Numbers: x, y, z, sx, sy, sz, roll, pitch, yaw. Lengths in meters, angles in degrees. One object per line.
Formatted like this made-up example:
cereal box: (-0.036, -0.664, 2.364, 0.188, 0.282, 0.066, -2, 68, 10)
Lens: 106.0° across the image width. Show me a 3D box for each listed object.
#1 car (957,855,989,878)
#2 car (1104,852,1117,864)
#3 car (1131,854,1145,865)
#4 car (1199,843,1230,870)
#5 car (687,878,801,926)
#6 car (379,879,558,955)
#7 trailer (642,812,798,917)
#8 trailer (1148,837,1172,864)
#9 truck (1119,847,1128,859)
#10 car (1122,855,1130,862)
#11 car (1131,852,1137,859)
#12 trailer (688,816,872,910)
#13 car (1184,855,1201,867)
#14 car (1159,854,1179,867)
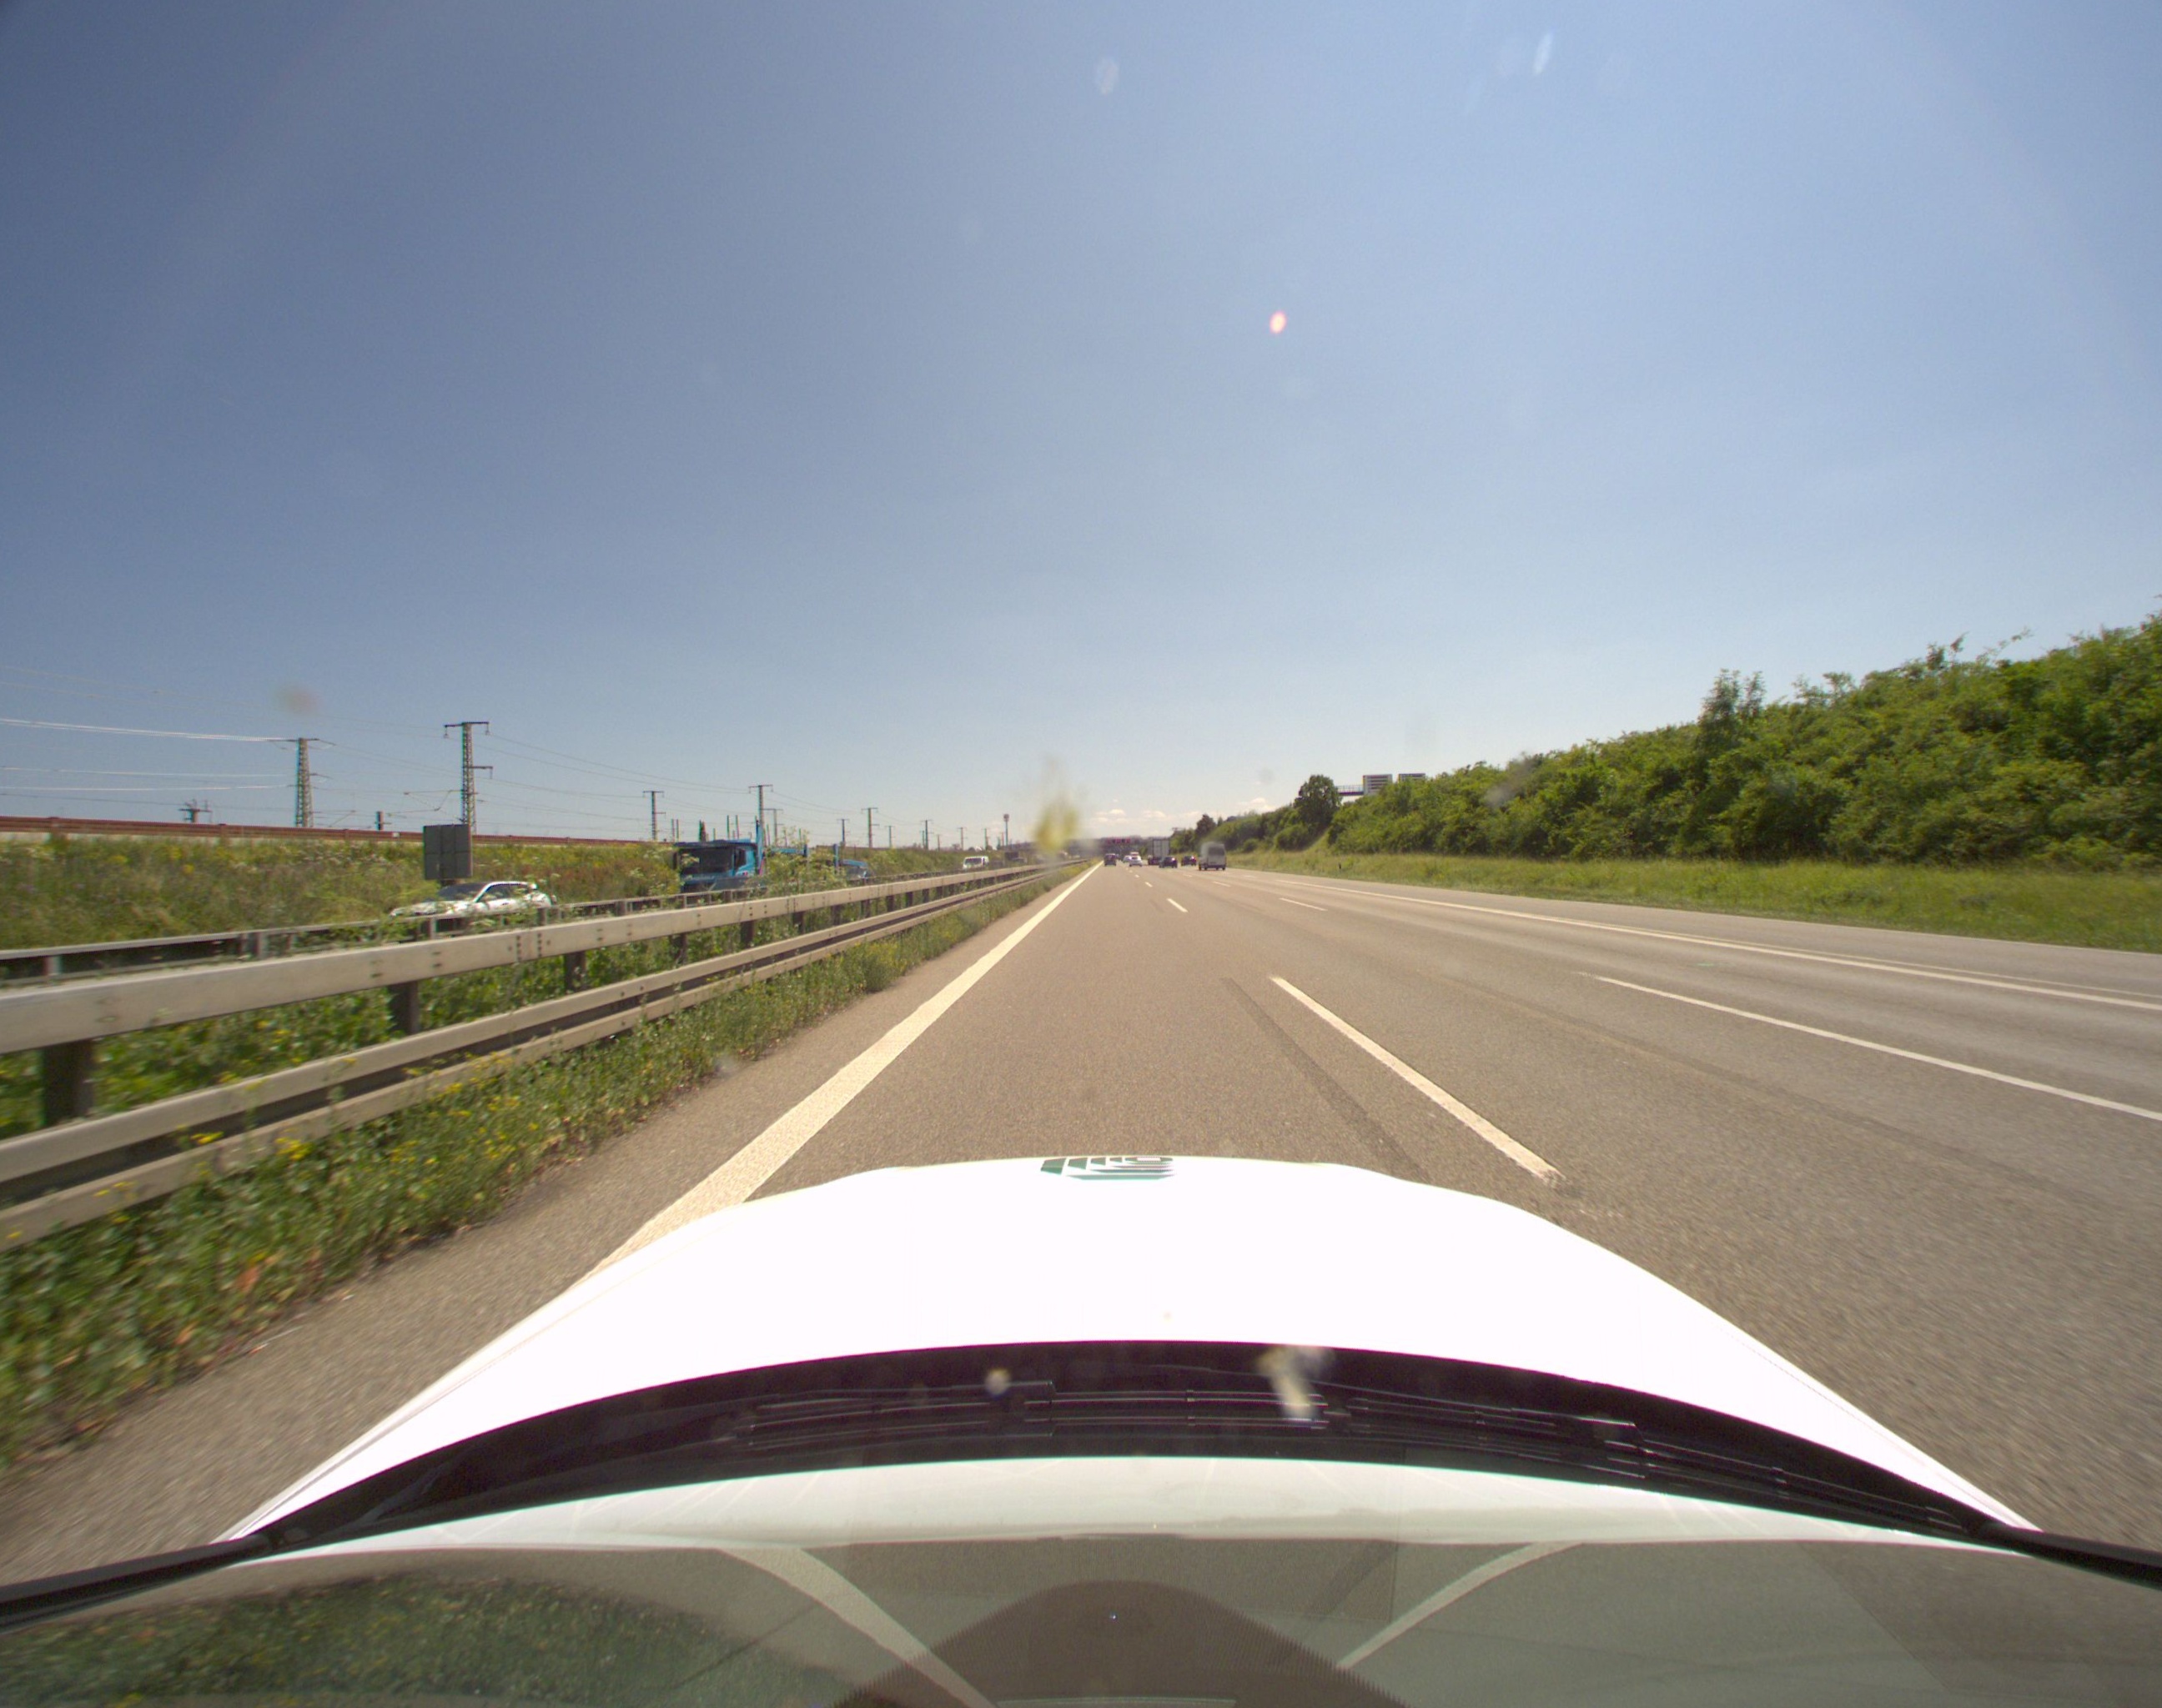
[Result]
car: (-9.714, 1.092, 73.709, 1.986, 2.013, 5.433, -1, 0, 1)
car: (4.443, 0.648, 123.832, 1.873, 1.775, 4.002, -2, -1, 2)
car: (7.917, 0.768, 113.014, 1.872, 1.526, 4.005, -1, -1, 5)
car: (13.213, 0.238, 80.761, 2.266, 2.528, 5.400, -1, 0, 1)
car: (-11.049, 1.535, 27.020, 1.879, 1.343, 4.134, -3, -2, 2)
car: (-18.784, 1.852, 25.289, 1.986, 2.014, 4.497, -3, -2, 2)
trailer: (-14.841, 0.410, 34.240, 3.039, 3.868, 7.206, -2, 0, 2)
trailer: (12.272, -0.508, 127.392, 3.165, 4.059, 9.444, -2, 0, 2)
truck: (11.755, -0.303, 224.937, 2.346, 3.416, 6.060, -1, 0, 2)
car: (9.790, 1.008, 177.048, 1.873, 1.526, 4.003, -1, -1, 3)
car: (16.670, 0.409, 256.007, 1.985, 2.013, 4.441, -2, 0, 4)
trailer: (-14.618, 0.398, 42.008, 3.039, 3.868, 15.982, -2, 0, 2)
car: (15.596, 0.971, 114.278, 1.986, 1.596, 4.001, 0, -2, 1)
car: (10.632, 0.848, 98.395, 1.987, 1.508, 3.998, 0, -2, 0)
